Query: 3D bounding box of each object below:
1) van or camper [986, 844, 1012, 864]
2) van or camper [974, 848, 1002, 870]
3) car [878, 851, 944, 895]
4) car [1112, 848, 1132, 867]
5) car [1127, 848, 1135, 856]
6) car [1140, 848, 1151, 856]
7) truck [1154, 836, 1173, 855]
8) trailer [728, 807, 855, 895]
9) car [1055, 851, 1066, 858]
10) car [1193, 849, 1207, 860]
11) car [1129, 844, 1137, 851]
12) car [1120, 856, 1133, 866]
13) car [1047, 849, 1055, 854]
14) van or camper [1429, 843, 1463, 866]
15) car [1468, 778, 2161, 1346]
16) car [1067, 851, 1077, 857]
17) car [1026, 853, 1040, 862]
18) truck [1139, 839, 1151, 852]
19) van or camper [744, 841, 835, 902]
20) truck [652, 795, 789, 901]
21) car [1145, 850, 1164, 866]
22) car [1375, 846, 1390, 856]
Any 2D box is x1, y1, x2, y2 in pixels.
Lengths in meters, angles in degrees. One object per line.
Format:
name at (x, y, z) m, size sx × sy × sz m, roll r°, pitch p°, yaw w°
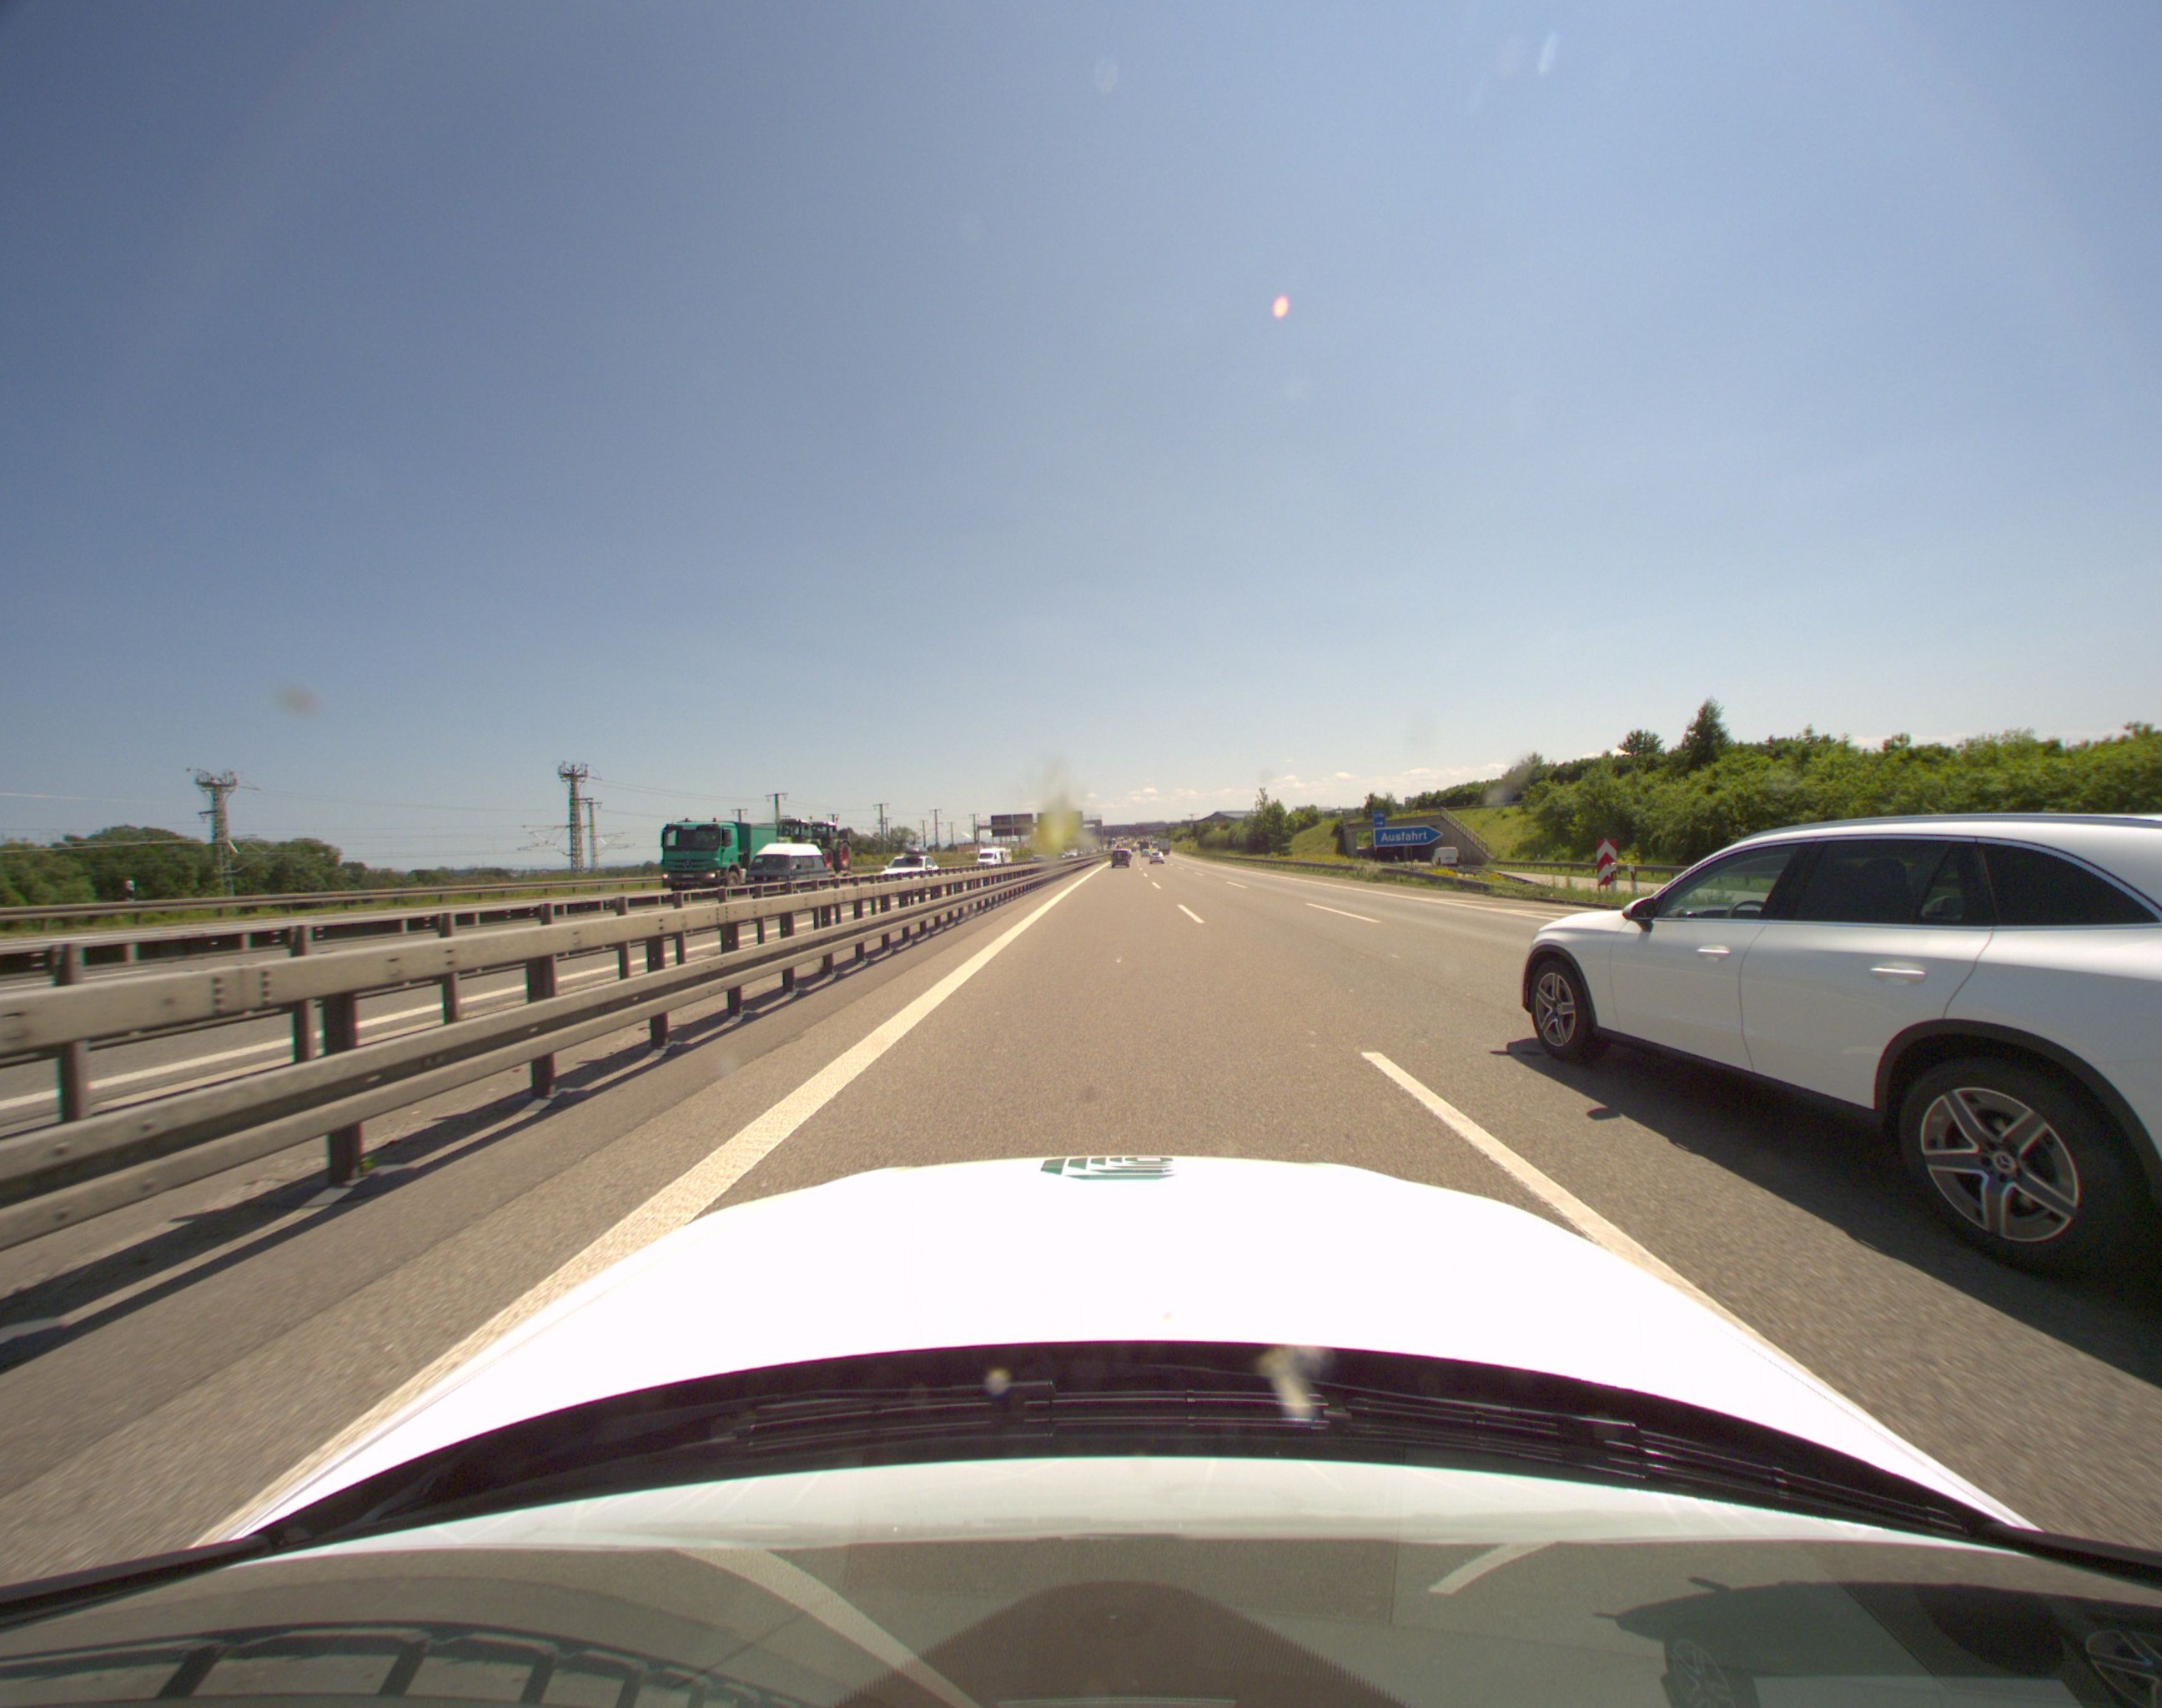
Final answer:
van or camper at (-11.667, -0.002, 116.685) m, size 2.507 × 2.665 × 8.069 m, roll -1°, pitch 0°, yaw 3°
van or camper at (-9.839, 0.519, 86.577) m, size 1.985 × 2.300 × 5.897 m, roll -1°, pitch 0°, yaw 3°
car at (-7.470, 0.822, 36.200) m, size 1.801 × 1.798 × 4.841 m, roll -1°, pitch 0°, yaw 1°
car at (4.099, 0.382, 82.042) m, size 1.919 × 1.919 × 4.950 m, roll -1°, pitch -1°, yaw 2°
car at (10.490, -0.364, 171.868) m, size 1.568 × 1.552 × 3.969 m, roll -1°, pitch -1°, yaw 5°
car at (12.865, -0.326, 163.268) m, size 1.974 × 1.473 × 4.002 m, roll -1°, pitch -1°, yaw 2°
truck at (19.797, -2.040, 196.130) m, size 4.023 × 4.261 × 11.766 m, roll -1°, pitch 2°, yaw 3°
trailer at (-15.579, -0.045, 45.007) m, size 2.749 × 4.245 × 11.203 m, roll -1°, pitch -1°, yaw 1°
car at (-3.918, 0.047, 157.948) m, size 1.758 × 1.347 × 4.003 m, roll -1°, pitch 0°, yaw 3°
car at (21.665, 0.165, 148.673) m, size 1.920 × 1.919 × 4.517 m, roll -1°, pitch -1°, yaw 1°
car at (16.485, -2.044, 258.728) m, size 2.178 × 2.002 × 4.002 m, roll -1°, pitch 2°, yaw 1°
car at (7.604, 1.171, 135.131) m, size 1.920 × 1.627 × 4.517 m, roll -1°, pitch -1°, yaw 1°
car at (-9.048, -0.732, 243.191) m, size 1.939 × 1.347 × 4.003 m, roll -1°, pitch 0°, yaw 2°
van or camper at (34.096, 0.079, 76.180) m, size 2.140 × 2.014 × 4.321 m, roll -1°, pitch -1°, yaw 15°
car at (4.184, 0.626, 4.516) m, size 1.890 × 1.647 × 5.002 m, roll -1°, pitch -1°, yaw 3°
car at (-1.975, 0.034, 178.994) m, size 1.939 × 1.347 × 4.003 m, roll -1°, pitch 0°, yaw 2°
car at (-7.355, 0.522, 124.899) m, size 1.686 × 1.347 × 4.003 m, roll -1°, pitch 0°, yaw 3°
truck at (16.745, -2.202, 212.959) m, size 2.691 × 3.109 × 10.665 m, roll -1°, pitch -1°, yaw 3°
van or camper at (-11.648, 0.652, 32.906) m, size 1.749 × 2.221 × 4.943 m, roll -1°, pitch 0°, yaw 1°
truck at (-15.881, -0.169, 36.471) m, size 2.748 × 4.245 × 6.981 m, roll -1°, pitch -1°, yaw 2°
car at (9.006, 0.526, 99.579) m, size 1.920 × 1.919 × 4.517 m, roll -1°, pitch -1°, yaw 1°
car at (55.097, -0.574, 149.040) m, size 1.980 × 1.750 × 4.013 m, roll -1°, pitch -1°, yaw 12°
